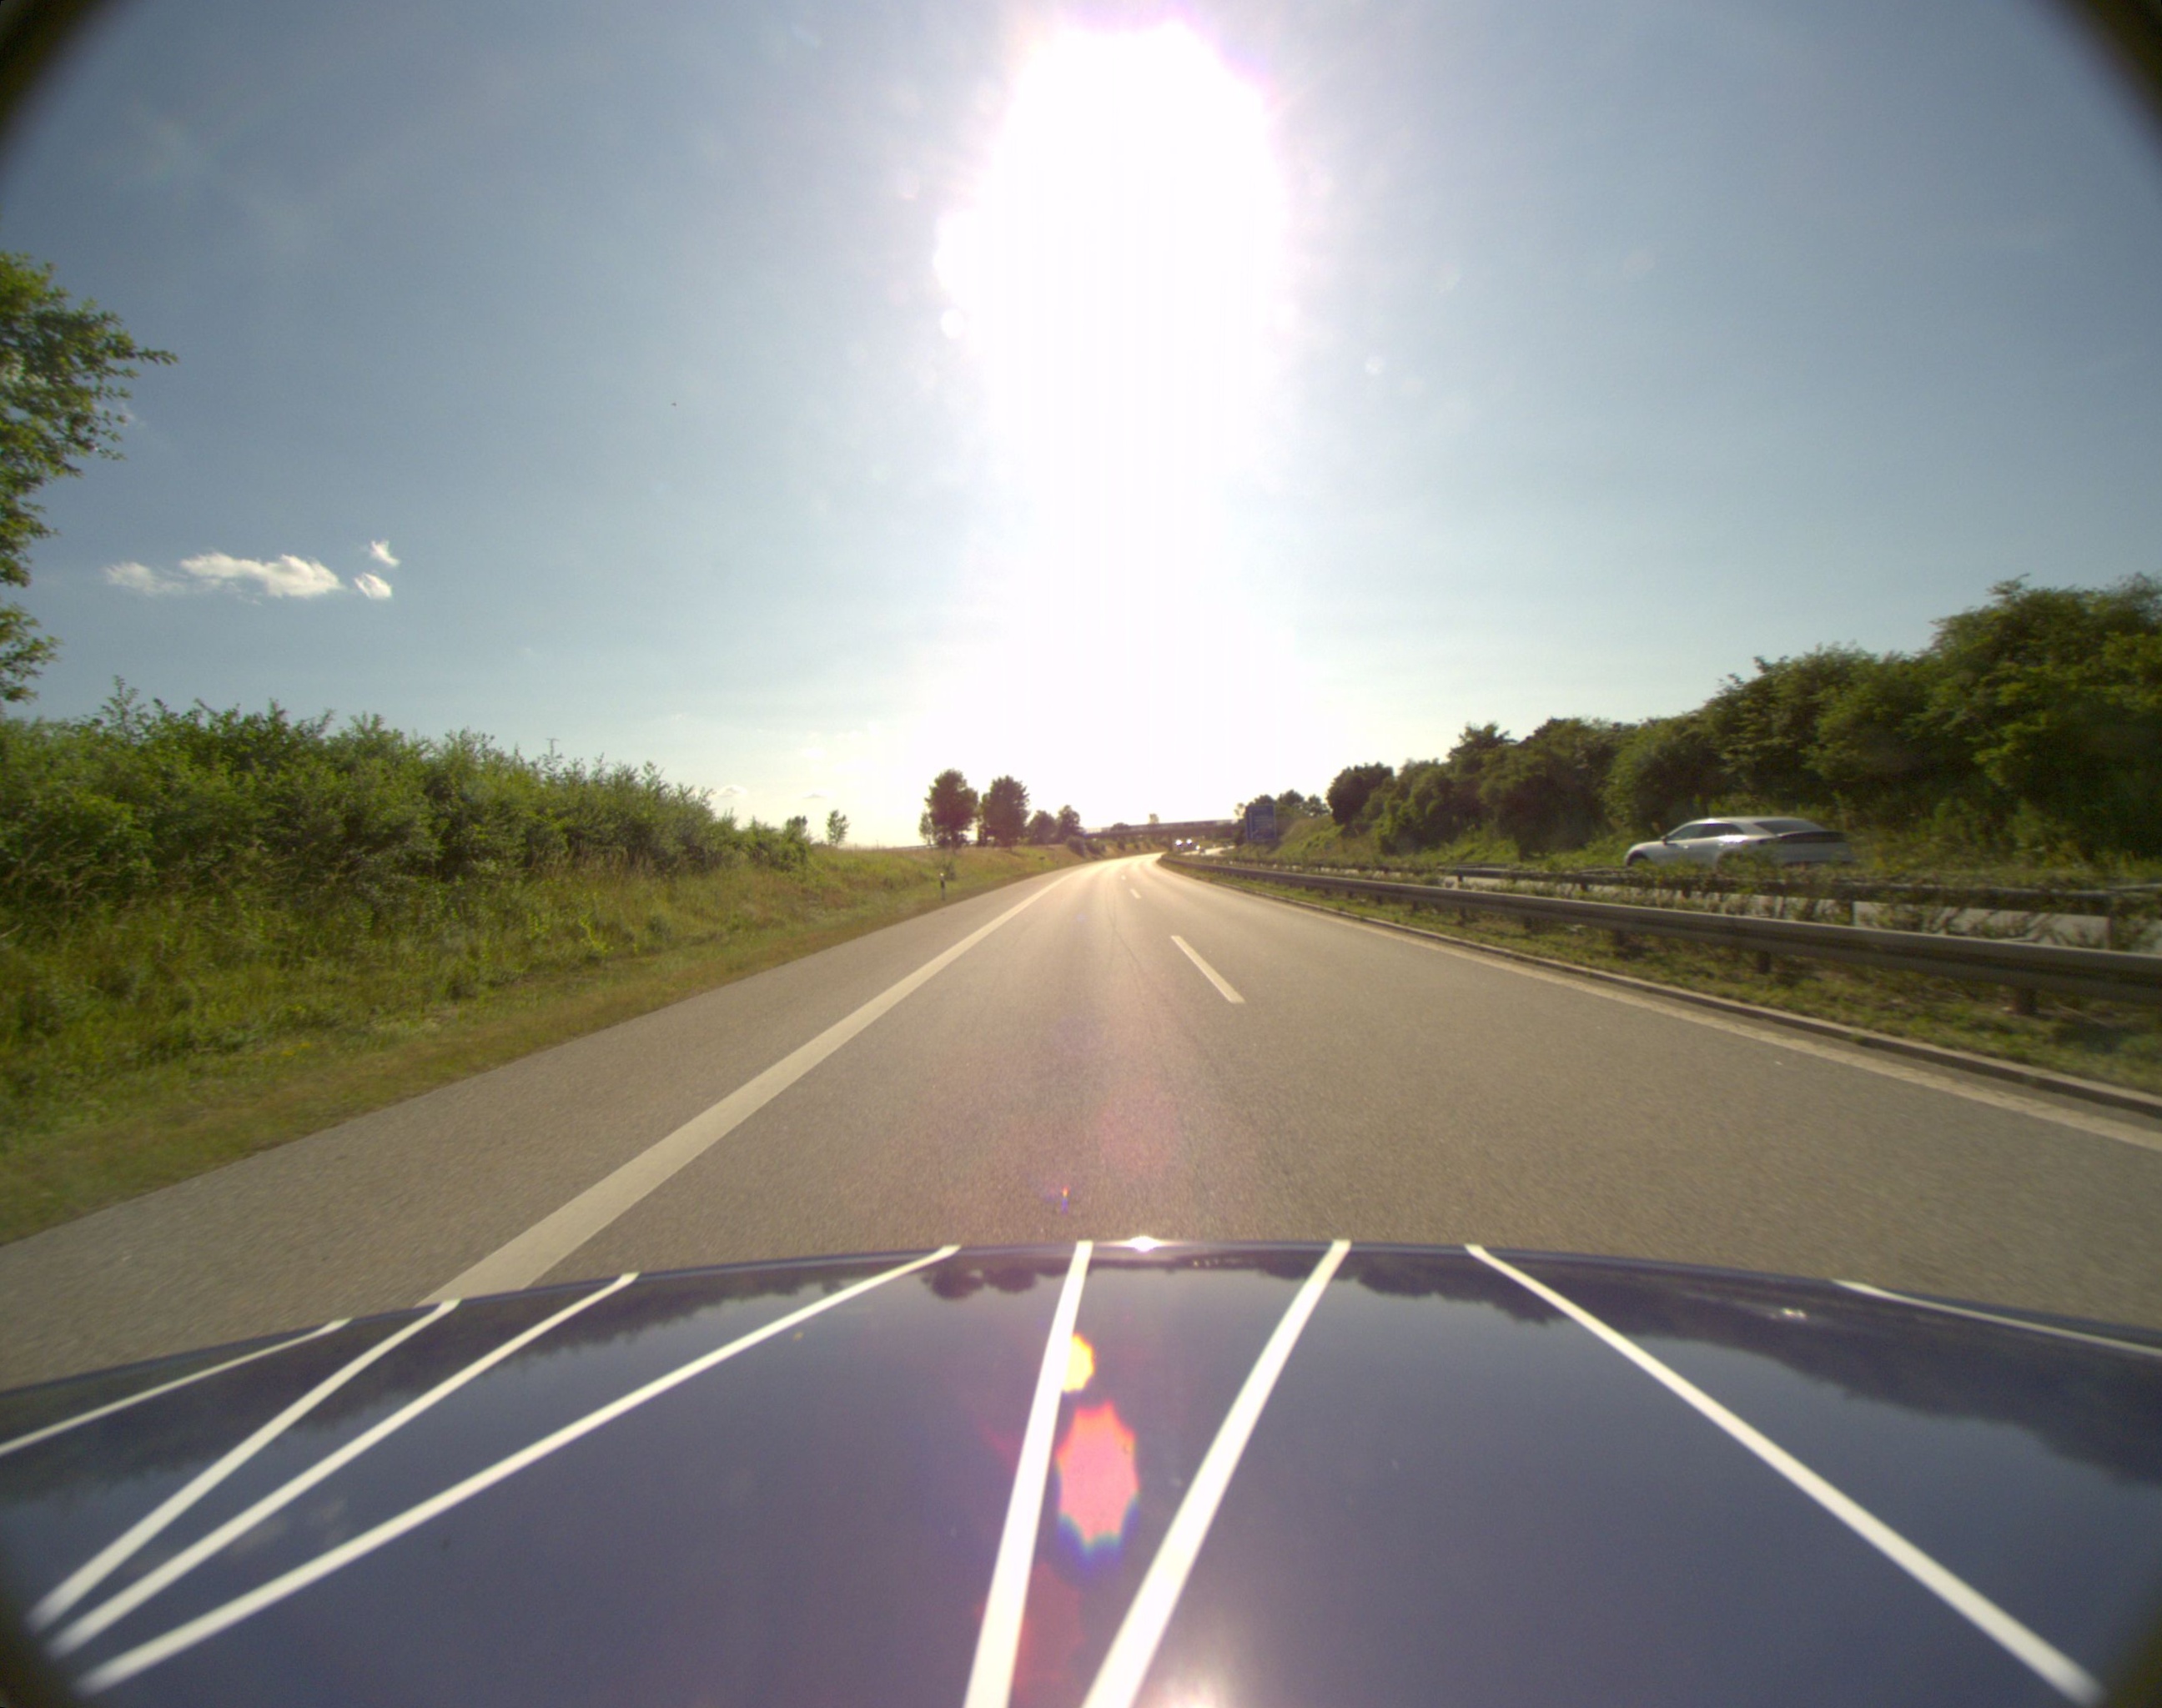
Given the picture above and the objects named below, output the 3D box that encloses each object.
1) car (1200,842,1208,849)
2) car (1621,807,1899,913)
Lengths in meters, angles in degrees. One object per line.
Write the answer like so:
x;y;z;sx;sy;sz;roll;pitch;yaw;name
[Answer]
31.184;-2.232;192.621;1.860;1.589;4.001;-2;1;6;car
14.914;0.089;17.190;1.998;2.002;4.855;-2;1;1;car
